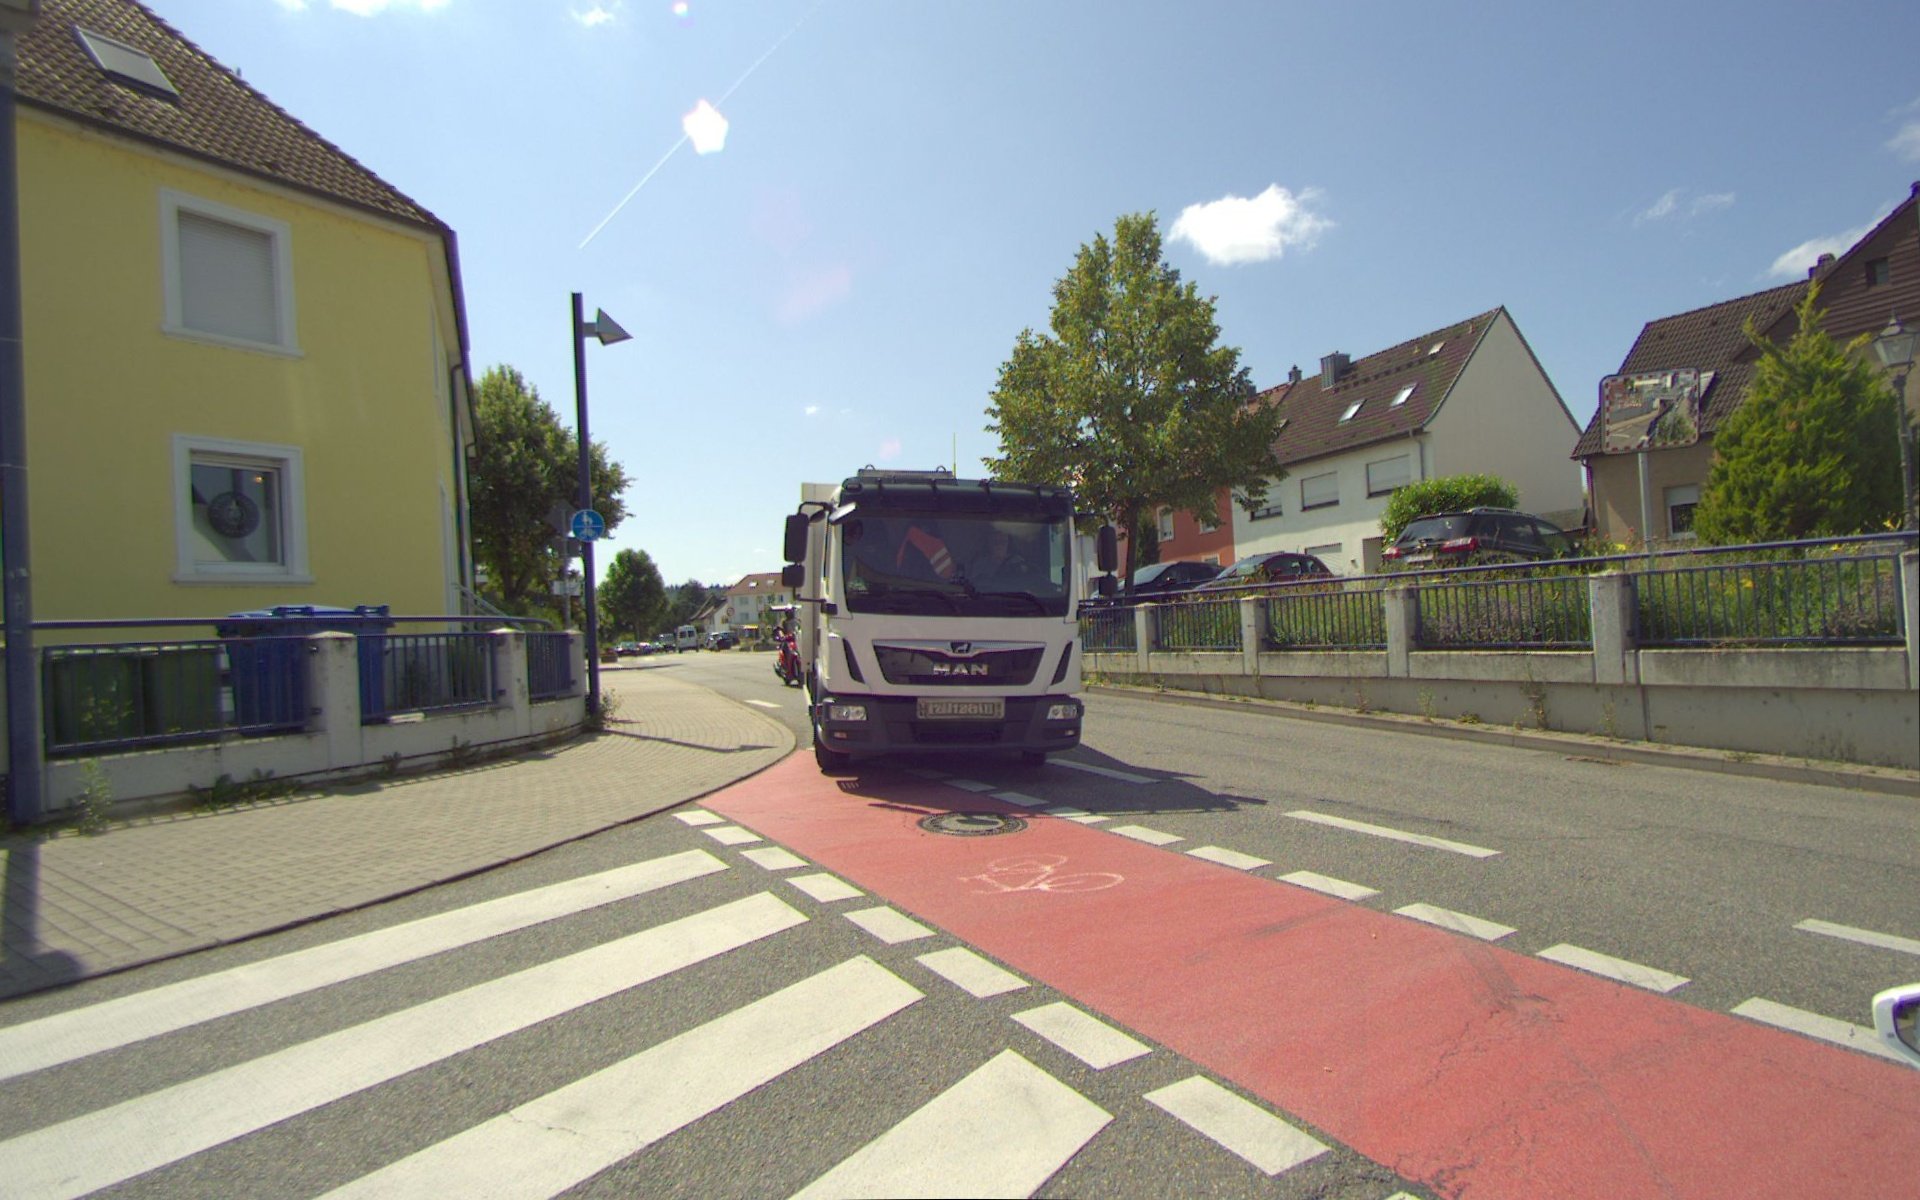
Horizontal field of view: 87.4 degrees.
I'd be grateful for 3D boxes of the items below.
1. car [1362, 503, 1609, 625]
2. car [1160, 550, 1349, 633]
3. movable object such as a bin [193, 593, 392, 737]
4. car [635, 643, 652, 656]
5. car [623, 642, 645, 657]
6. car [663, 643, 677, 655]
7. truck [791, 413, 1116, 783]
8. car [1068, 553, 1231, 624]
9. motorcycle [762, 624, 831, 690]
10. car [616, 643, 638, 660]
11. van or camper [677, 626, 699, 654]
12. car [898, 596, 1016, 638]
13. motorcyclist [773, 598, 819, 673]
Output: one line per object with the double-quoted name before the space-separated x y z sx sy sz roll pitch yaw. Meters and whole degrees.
"car" 8.813 -0.541 16.803 3.953 1.821 1.858 0 1 -30
"car" 6.164 -0.169 21.012 3.567 1.608 1.858 0 1 -30
"movable object such as a bin" -6.165 0.577 9.342 0.826 1.229 1.276 -3 -1 21
"car" -38.496 6.008 122.317 1.784 1.416 3.988 -2 -1 -15
"car" -34.342 5.232 106.016 1.967 1.416 3.988 -2 -1 -15
"car" -40.135 6.790 139.011 1.784 1.416 3.988 -3 0 -15
"truck" -0.681 0.076 12.121 2.571 2.915 8.058 0 -1 -10
"car" 4.624 -0.269 24.495 3.567 1.608 1.858 0 1 -30
"motorcycle" -3.423 1.149 20.886 0.720 1.308 2.127 1 -1 -30
"car" -32.032 4.935 96.725 1.968 1.416 3.985 -2 -1 -18
"van or camper" -27.088 3.929 100.084 1.971 2.665 5.377 1 -1 -15
"car" -0.112 0.637 38.630 4.197 1.508 1.737 0 1 -24
"motorcyclist" -3.414 0.734 20.905 0.720 1.521 0.764 1 0 -31
